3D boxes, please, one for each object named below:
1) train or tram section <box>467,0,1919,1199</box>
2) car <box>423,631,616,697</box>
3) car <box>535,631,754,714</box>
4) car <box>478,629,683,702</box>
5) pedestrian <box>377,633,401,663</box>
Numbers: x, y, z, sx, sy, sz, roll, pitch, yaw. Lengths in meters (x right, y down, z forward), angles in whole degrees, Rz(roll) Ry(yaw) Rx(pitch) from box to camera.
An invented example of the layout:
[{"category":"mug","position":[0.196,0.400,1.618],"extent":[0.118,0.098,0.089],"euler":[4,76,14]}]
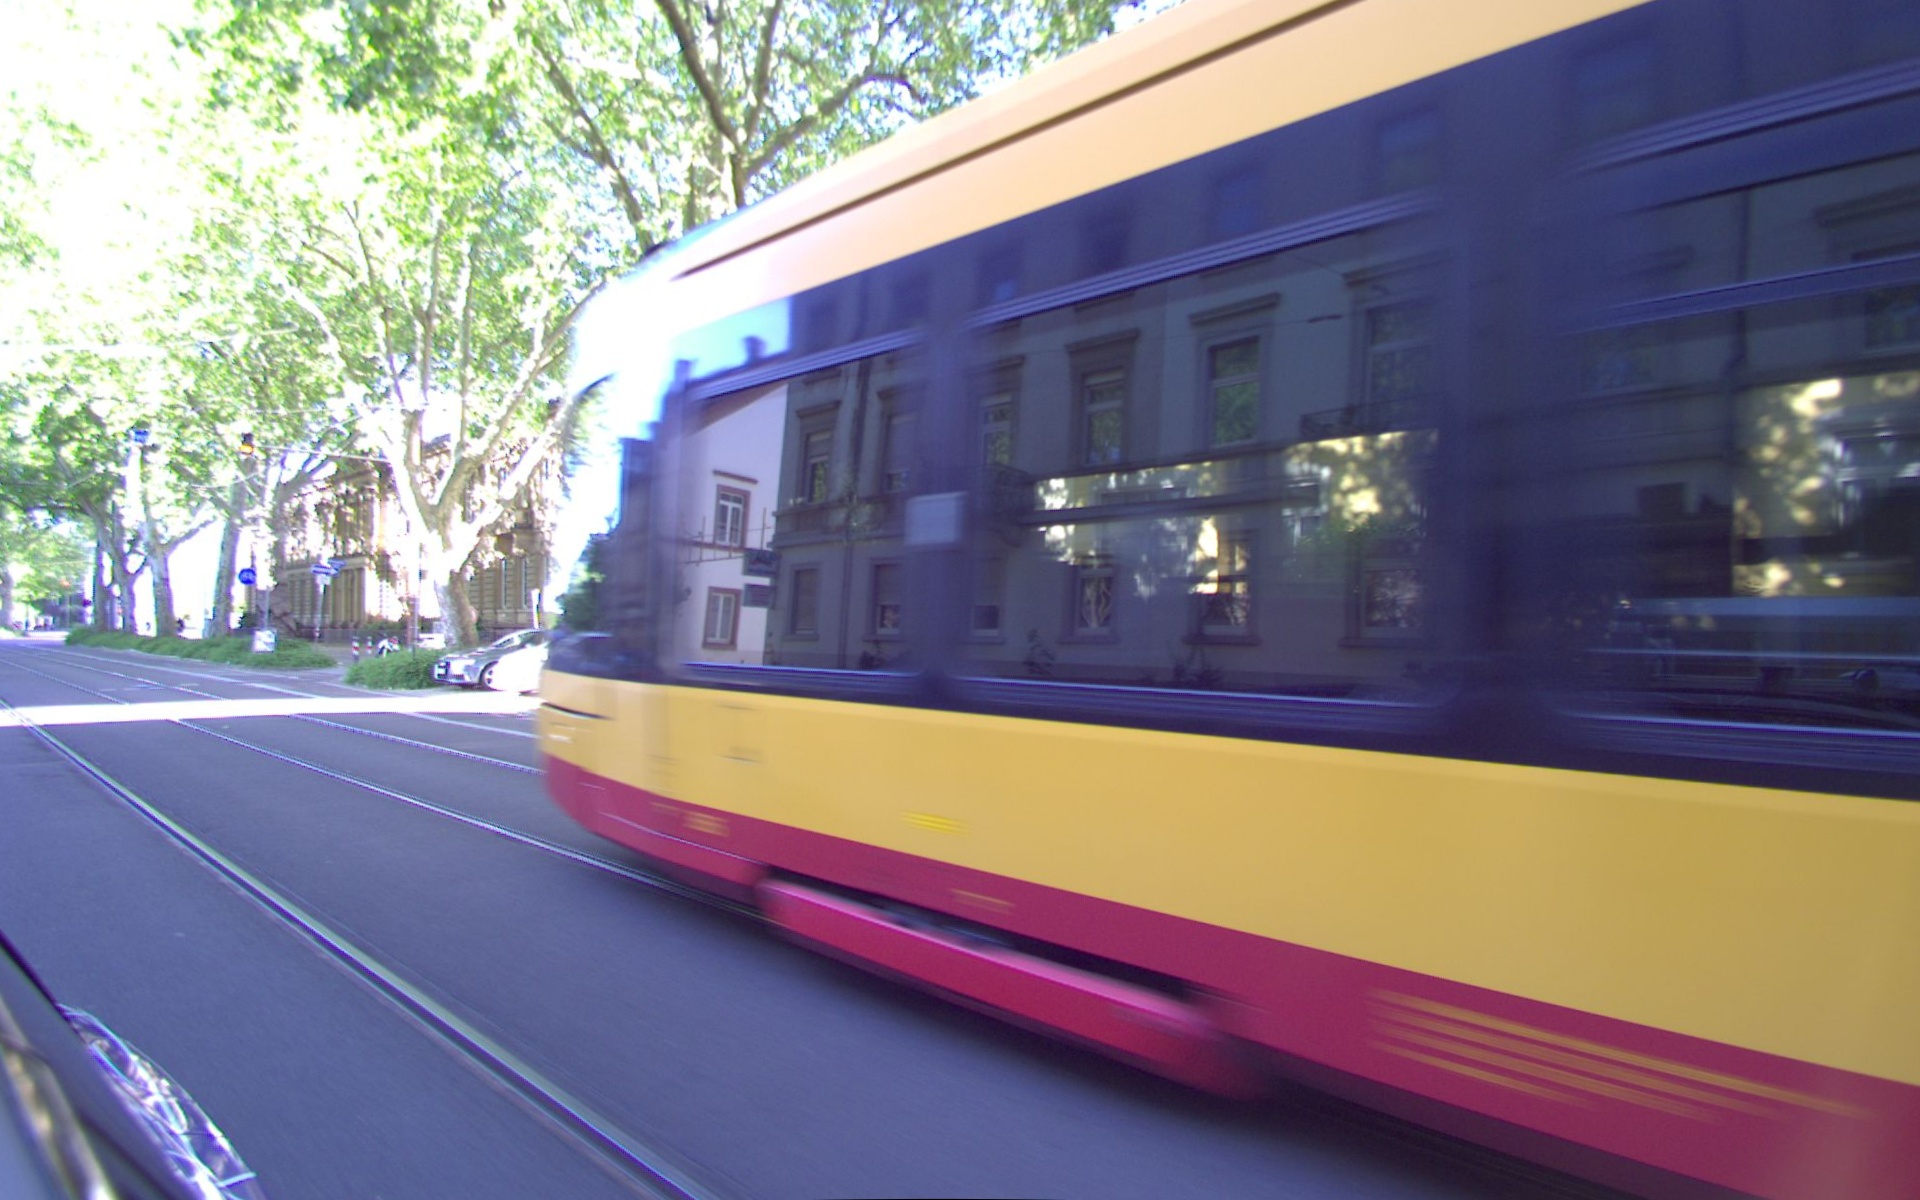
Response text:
[{"category":"train or tram section","position":[2.719,-0.432,2.624],"extent":[12.410,3.646,2.905],"euler":[-1,0,43]},{"category":"car","position":[-10.174,1.437,23.630],"extent":[1.410,1.385,3.949],"euler":[-1,-2,38]},{"category":"car","position":[-6.080,1.335,19.882],"extent":[1.526,1.442,3.949],"euler":[-1,-2,38]},{"category":"car","position":[-8.153,1.351,22.039],"extent":[1.599,1.442,3.949],"euler":[-1,-2,38]},{"category":"pedestrian","position":[-14.948,1.252,26.495],"extent":[0.420,0.756,0.419],"euler":[-1,-2,41]}]
